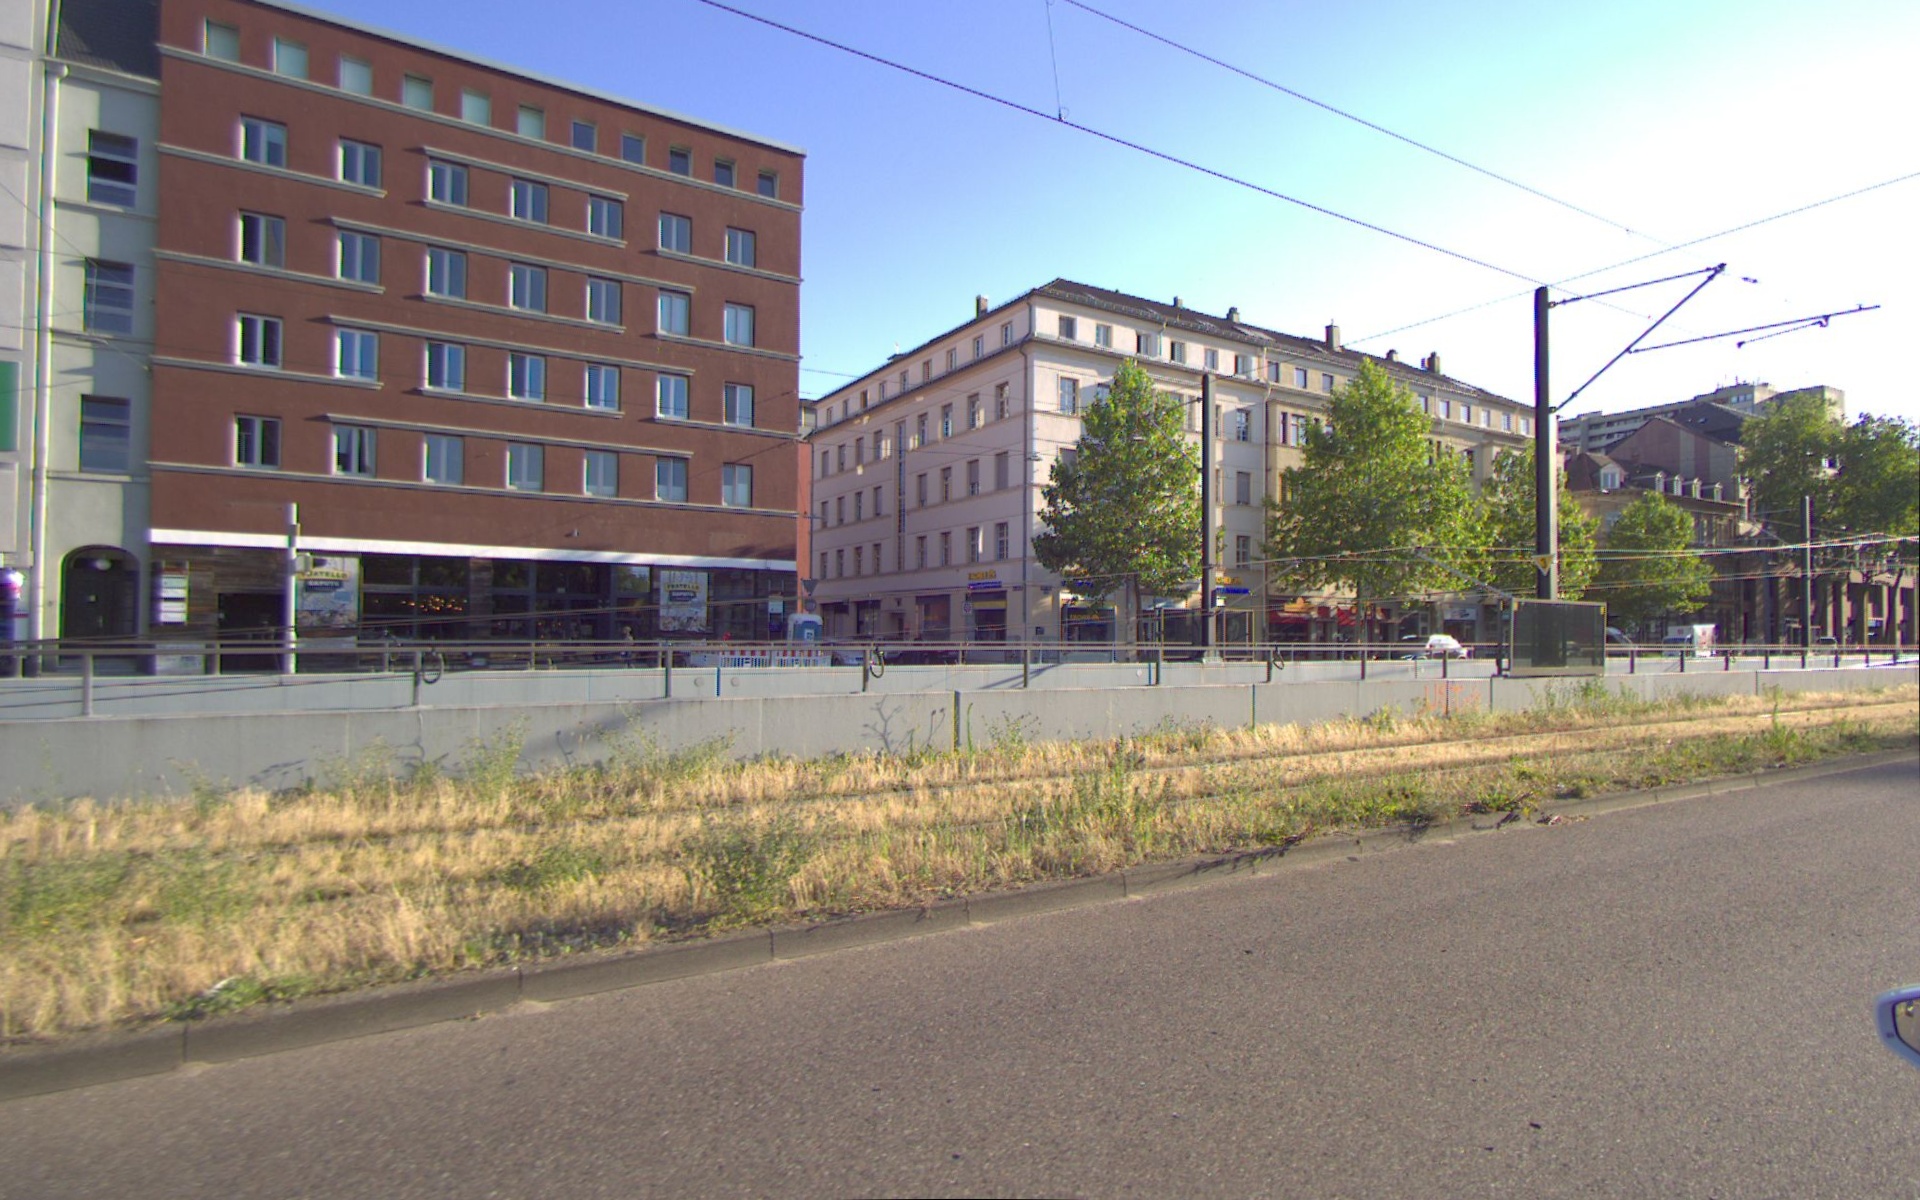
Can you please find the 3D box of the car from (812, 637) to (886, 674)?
[{"bbox_3d":[-4.865,2.389,43.589,1.875,1.505,3.971,1,-2,-29],"label":"car"}]

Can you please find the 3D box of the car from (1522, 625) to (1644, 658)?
[{"bbox_3d":[45.602,3.016,73.739,2.447,2.296,7.218,2,-3,-36],"label":"car"}]

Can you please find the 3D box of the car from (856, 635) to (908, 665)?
[{"bbox_3d":[-4.257,2.652,54.178,1.530,1.567,3.509,1,-2,-28],"label":"car"}]

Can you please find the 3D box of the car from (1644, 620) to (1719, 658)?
[{"bbox_3d":[42.176,2.285,58.679,4.521,2.162,1.942,1,-2,-32],"label":"car"}]

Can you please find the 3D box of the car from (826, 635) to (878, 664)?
[{"bbox_3d":[-6.285,2.839,58.023,1.531,1.567,3.969,1,-2,-30],"label":"car"}]

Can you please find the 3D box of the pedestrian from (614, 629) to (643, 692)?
[{"bbox_3d":[-11.042,2.000,33.447,0.763,2.040,0.695,1,-2,-30],"label":"pedestrian"}]

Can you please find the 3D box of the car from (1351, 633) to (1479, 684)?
[{"bbox_3d":[17.571,2.223,38.755,4.919,1.843,1.985,1,-2,-30],"label":"car"}]

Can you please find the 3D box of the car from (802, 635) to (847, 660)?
[{"bbox_3d":[-8.551,2.975,63.118,1.437,1.514,3.845,1,-2,-30],"label":"car"}]
